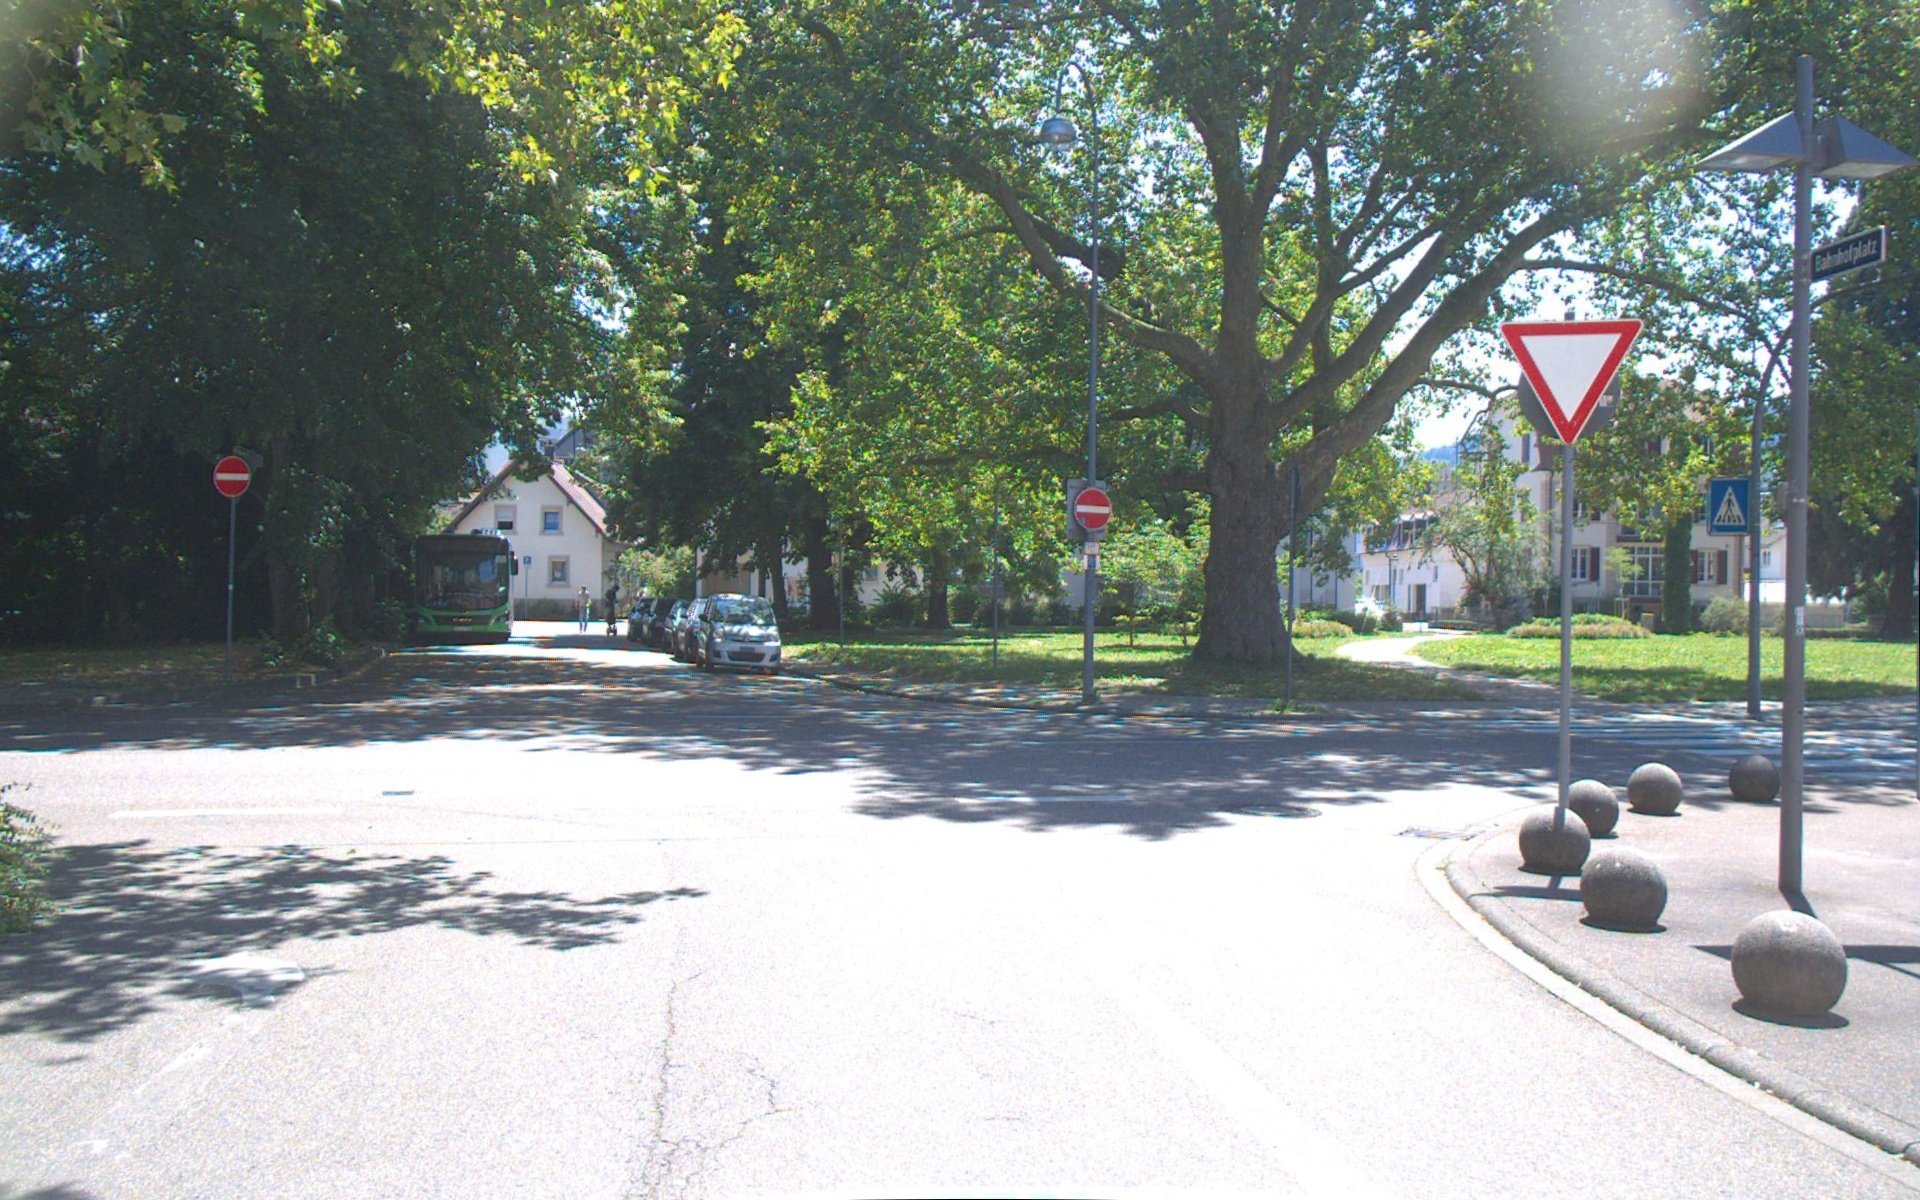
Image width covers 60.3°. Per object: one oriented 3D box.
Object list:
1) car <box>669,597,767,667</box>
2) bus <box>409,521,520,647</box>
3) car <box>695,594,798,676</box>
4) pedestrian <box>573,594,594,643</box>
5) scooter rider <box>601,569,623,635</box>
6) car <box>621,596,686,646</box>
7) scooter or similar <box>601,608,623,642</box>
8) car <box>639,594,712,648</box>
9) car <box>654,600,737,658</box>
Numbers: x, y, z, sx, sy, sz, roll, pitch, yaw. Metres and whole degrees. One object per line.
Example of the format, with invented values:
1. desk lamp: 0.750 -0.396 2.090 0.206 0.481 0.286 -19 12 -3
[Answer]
1. car: -5.702 0.705 38.550 1.721 1.464 4.485 2 0 -15
2. bus: -15.356 -0.465 52.183 2.820 3.352 15.887 1 0 -15
3. car: -4.349 0.670 33.352 1.568 1.523 3.472 2 0 -15
4. pedestrian: -14.272 0.683 62.759 0.706 1.834 0.939 1 0 -10
5. scooter rider: -12.674 0.069 60.270 0.726 2.358 0.923 0 0 -14
6. car: -9.965 0.655 53.554 1.725 1.519 3.901 1 0 -15
7. scooter or similar: -12.684 0.901 60.259 0.726 1.204 1.513 0 0 -14
8. car: -8.564 0.593 49.568 1.725 1.519 4.357 1 0 -15
9. car: -7.252 0.762 45.021 1.721 1.464 4.751 1 0 -15
